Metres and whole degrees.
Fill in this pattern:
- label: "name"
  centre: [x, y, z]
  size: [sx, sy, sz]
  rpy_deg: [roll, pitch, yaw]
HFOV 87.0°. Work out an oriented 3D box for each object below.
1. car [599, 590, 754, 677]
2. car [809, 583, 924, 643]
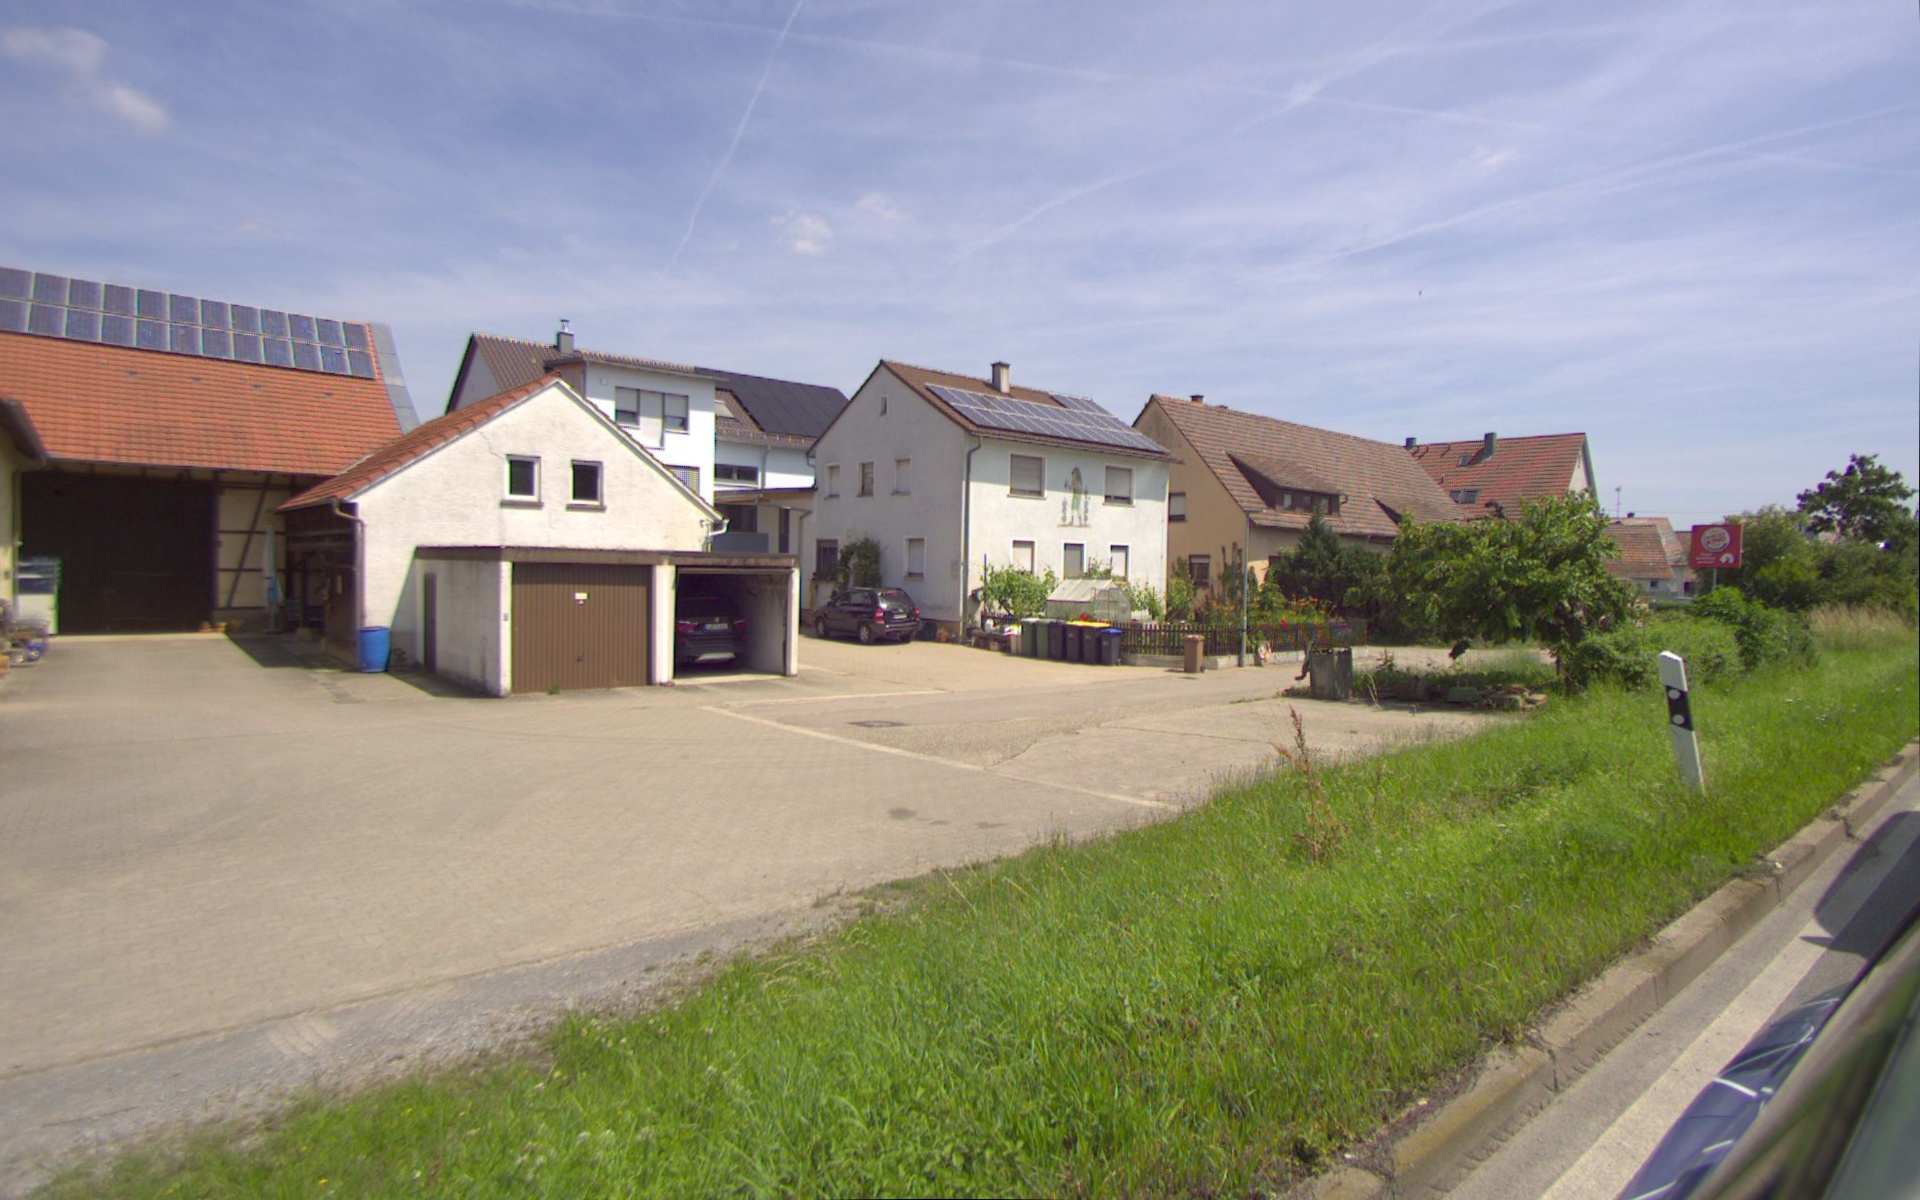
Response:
- label: "car"
  centre: [-6.244, 0.636, 22.045]
  size: [1.802, 1.597, 3.996]
  rpy_deg: [-1, 2, -40]
- label: "car"
  centre: [-3.053, 0.355, 32.400]
  size: [1.810, 1.714, 3.959]
  rpy_deg: [-1, 3, -38]
